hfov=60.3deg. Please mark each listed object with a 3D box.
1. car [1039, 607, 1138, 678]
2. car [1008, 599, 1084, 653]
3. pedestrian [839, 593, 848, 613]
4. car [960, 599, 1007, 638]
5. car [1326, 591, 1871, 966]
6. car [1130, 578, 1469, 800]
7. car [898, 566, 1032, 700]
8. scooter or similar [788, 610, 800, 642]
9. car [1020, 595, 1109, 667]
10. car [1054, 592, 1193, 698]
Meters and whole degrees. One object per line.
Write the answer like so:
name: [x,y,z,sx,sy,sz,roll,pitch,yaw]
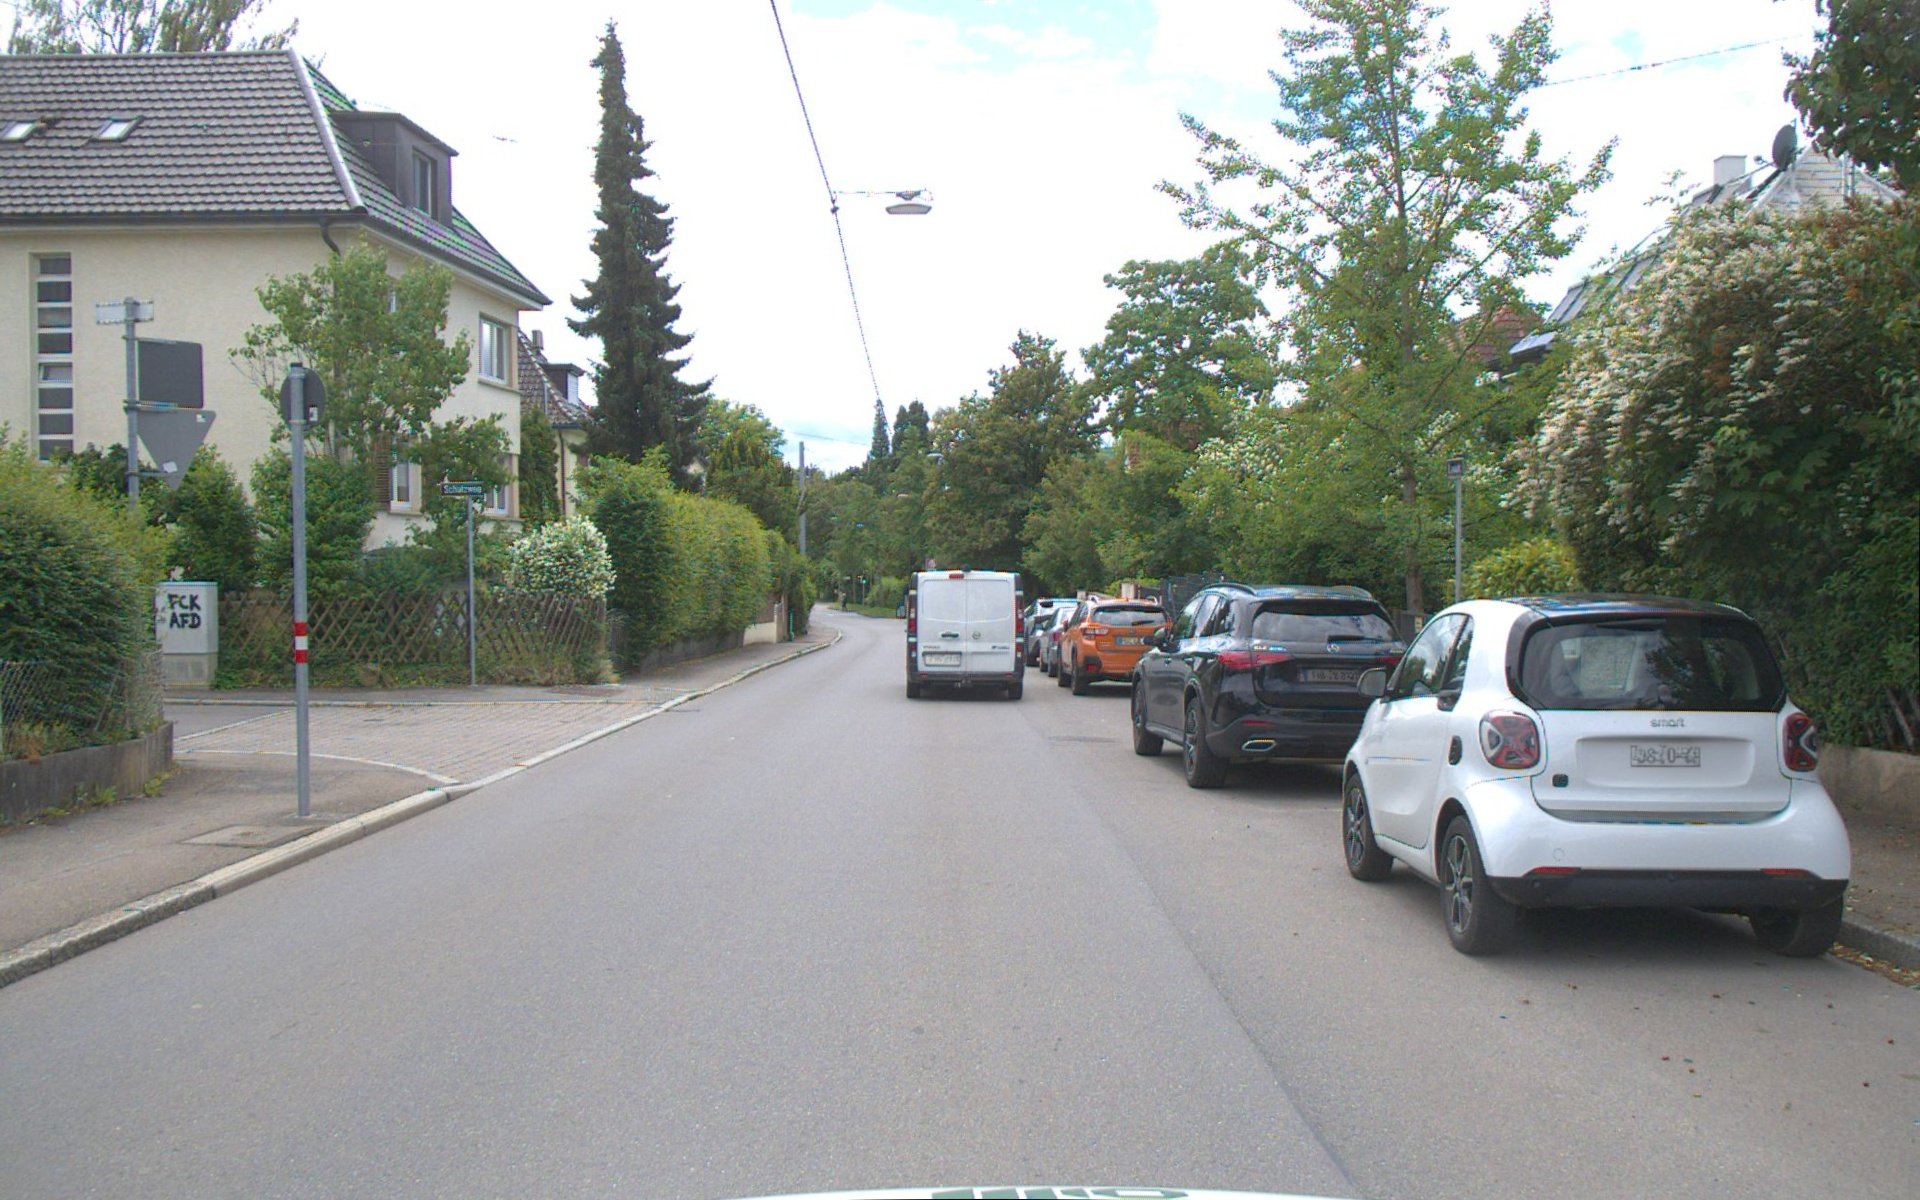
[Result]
car: [2.646,0.847,34.829,1.681,1.406,4.235,0,0,-1]
car: [2.592,0.769,49.650,2.239,1.550,1.318,-1,0,4]
pedestrian: [-9.839,0.279,139.842,0.684,1.644,0.714,0,2,-8]
car: [1.026,0.832,75.400,1.828,1.715,4.347,0,0,-3]
car: [2.970,0.737,8.337,1.566,1.537,3.013,0,0,-1]
car: [2.816,0.689,14.786,1.911,1.655,4.373,1,0,-3]
car: [-0.012,0.469,27.030,1.892,1.998,4.398,0,1,-4]
scooter or similar: [-6.355,0.988,63.259,0.384,1.191,1.269,0,0,-2]
car: [2.481,0.717,40.110,1.792,1.652,4.491,0,0,-1]
car: [2.730,0.719,28.444,1.813,1.655,4.168,1,0,-2]
